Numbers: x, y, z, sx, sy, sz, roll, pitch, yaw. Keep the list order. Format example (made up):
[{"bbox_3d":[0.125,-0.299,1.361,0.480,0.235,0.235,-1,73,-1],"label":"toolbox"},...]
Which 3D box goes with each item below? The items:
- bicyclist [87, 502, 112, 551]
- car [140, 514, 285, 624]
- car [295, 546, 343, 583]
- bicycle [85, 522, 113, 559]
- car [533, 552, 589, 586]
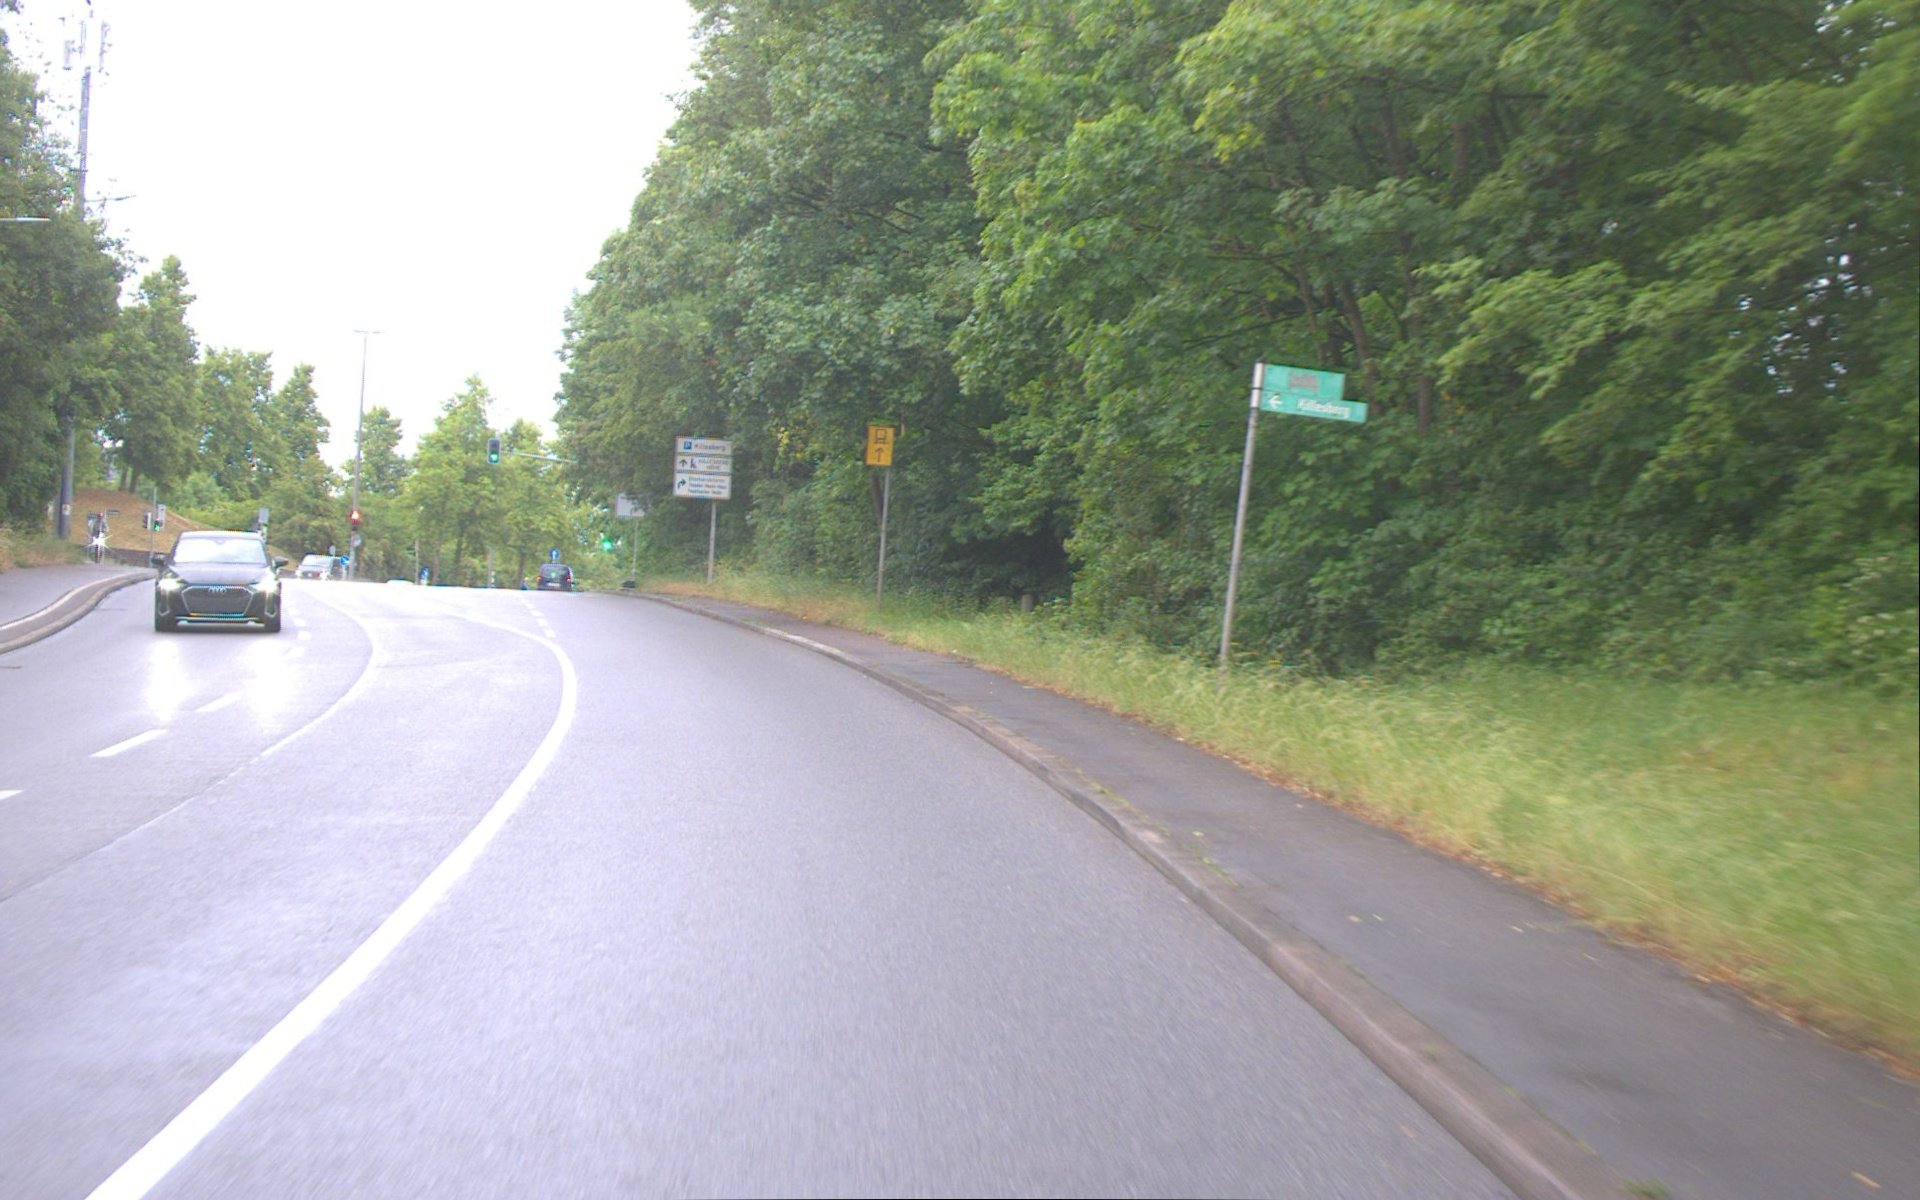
[{"bbox_3d":[-29.511,-2.516,117.894,0.704,1.639,0.951,1,1,-9],"label":"bicyclist"},{"bbox_3d":[-10.945,-0.487,50.566,1.934,1.493,4.319,1,1,-11],"label":"car"},{"bbox_3d":[-33.641,-1.868,180.545,1.993,1.842,4.000,1,-1,-3],"label":"car"},{"bbox_3d":[-29.531,-2.053,117.895,0.704,1.238,2.165,1,1,-9],"label":"bicycle"},{"bbox_3d":[-18.574,-1.434,160.134,1.935,1.493,4.318,2,1,1],"label":"car"}]
